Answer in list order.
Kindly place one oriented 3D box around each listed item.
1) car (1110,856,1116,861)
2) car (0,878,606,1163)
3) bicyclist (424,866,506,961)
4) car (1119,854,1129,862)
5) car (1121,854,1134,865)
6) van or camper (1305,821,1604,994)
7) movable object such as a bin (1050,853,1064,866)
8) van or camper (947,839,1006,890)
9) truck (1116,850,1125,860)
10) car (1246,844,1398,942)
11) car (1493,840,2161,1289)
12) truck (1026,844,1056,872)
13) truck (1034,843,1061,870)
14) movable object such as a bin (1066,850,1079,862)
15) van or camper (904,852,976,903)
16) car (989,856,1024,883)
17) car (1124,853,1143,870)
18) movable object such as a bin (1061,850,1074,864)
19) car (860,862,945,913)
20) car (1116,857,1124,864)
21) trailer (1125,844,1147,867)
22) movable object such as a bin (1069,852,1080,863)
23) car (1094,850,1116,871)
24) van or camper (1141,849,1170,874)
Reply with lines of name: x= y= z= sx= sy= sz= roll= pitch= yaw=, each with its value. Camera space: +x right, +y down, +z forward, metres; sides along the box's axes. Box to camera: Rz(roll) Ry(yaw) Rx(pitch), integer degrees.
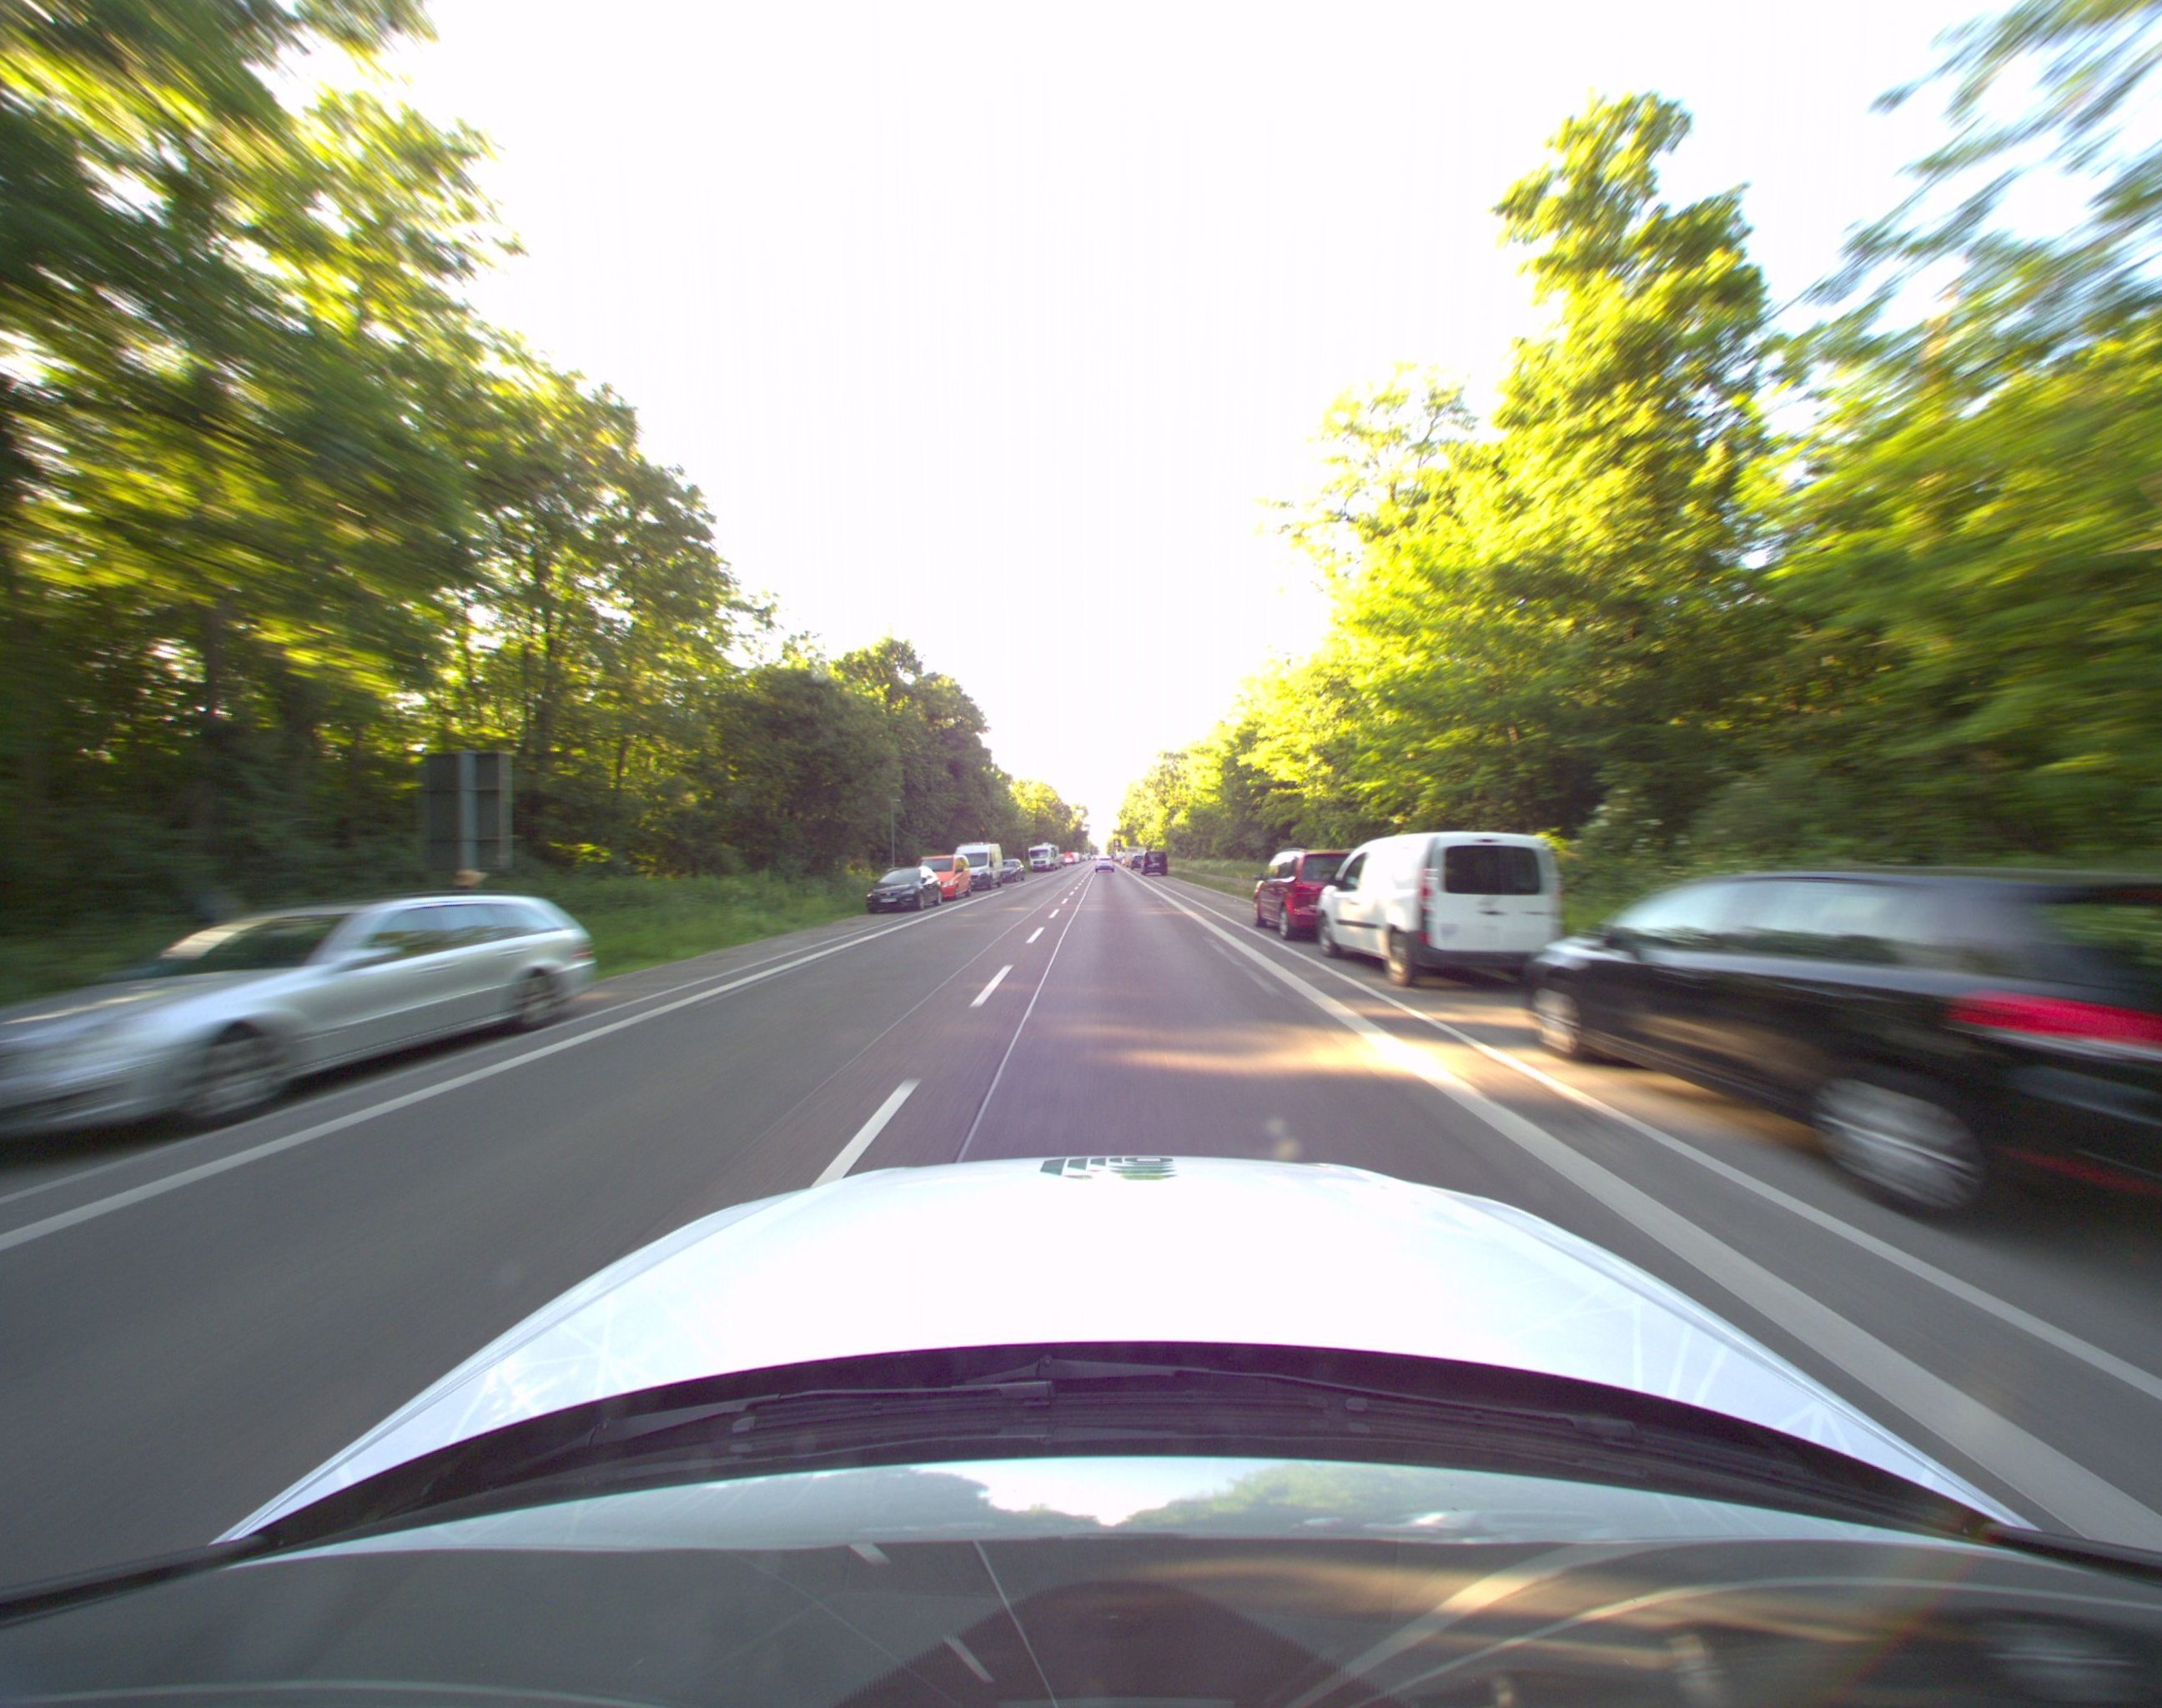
car: x=9.895 y=1.357 z=253.413 sx=1.650 sy=1.478 sz=3.755 roll=-1 pitch=0 yaw=2
car: x=-6.377 y=1.044 z=6.939 sx=1.791 sy=1.453 sz=4.626 roll=-3 pitch=0 yaw=1
bicyclist: x=-9.328 y=0.878 z=12.363 sx=0.602 sy=1.374 sz=0.799 roll=-1 pitch=0 yaw=1
car: x=7.738 y=0.724 z=146.024 sx=1.650 sy=1.478 sz=3.755 roll=-1 pitch=0 yaw=2
car: x=7.135 y=0.827 z=125.389 sx=1.726 sy=1.684 sz=4.001 roll=-1 pitch=0 yaw=2
van or camper: x=4.608 y=0.576 z=10.919 sx=1.945 sy=1.815 sz=4.379 roll=-1 pitch=0 yaw=-1
movable object such as a bin: x=-3.719 y=0.903 z=128.466 sx=1.946 sy=2.013 sz=4.001 roll=-1 pitch=0 yaw=1
van or camper: x=-5.613 y=0.535 z=44.842 sx=2.113 sy=2.572 sz=6.545 roll=-2 pitch=0 yaw=2
truck: x=9.681 y=0.229 z=200.371 sx=2.089 sy=2.452 sz=5.682 roll=-1 pitch=0 yaw=2
car: x=4.549 y=0.668 z=16.046 sx=1.827 sy=1.660 sz=4.340 roll=0 pitch=0 yaw=2
car: x=4.275 y=0.716 z=4.837 sx=1.684 sy=1.524 sz=4.151 roll=0 pitch=0 yaw=2
truck: x=-4.530 y=0.449 z=93.677 sx=2.697 sy=3.093 sz=7.992 roll=-1 pitch=0 yaw=2
truck: x=-4.232 y=0.322 z=105.277 sx=2.697 sy=3.347 sz=10.927 roll=-1 pitch=0 yaw=2
movable object such as a bin: x=-1.751 y=0.441 z=167.455 sx=2.313 sy=2.501 sz=4.001 roll=-1 pitch=0 yaw=1
van or camper: x=-5.801 y=0.924 z=34.066 sx=1.915 sy=1.867 sz=4.865 roll=-3 pitch=0 yaw=2
car: x=-5.146 y=1.061 z=56.892 sx=1.774 sy=1.684 sz=4.380 roll=-3 pitch=0 yaw=2
car: x=5.608 y=0.791 z=87.379 sx=1.834 sy=1.662 sz=4.002 roll=-1 pitch=0 yaw=2
movable object such as a bin: x=-2.515 y=0.611 z=152.896 sx=2.313 sy=2.501 sz=4.001 roll=-1 pitch=0 yaw=1
car: x=-5.982 y=1.076 z=27.735 sx=1.725 sy=1.478 sz=4.326 roll=-3 pitch=0 yaw=2
car: x=8.434 y=1.414 z=176.523 sx=1.650 sy=1.478 sz=3.755 roll=-1 pitch=0 yaw=2
trailer: x=7.341 y=0.232 z=109.381 sx=2.747 sy=2.870 sz=6.591 roll=-1 pitch=0 yaw=2
movable object such as a bin: x=-1.484 y=0.891 z=189.812 sx=2.313 sy=2.501 sz=4.001 roll=-1 pitch=0 yaw=1
car: x=2.348 y=0.601 z=78.279 sx=2.021 sy=1.840 sz=4.031 roll=-2 pitch=0 yaw=2
van or camper: x=5.860 y=0.589 z=64.599 sx=1.986 sy=1.932 sz=5.201 roll=0 pitch=0 yaw=2
